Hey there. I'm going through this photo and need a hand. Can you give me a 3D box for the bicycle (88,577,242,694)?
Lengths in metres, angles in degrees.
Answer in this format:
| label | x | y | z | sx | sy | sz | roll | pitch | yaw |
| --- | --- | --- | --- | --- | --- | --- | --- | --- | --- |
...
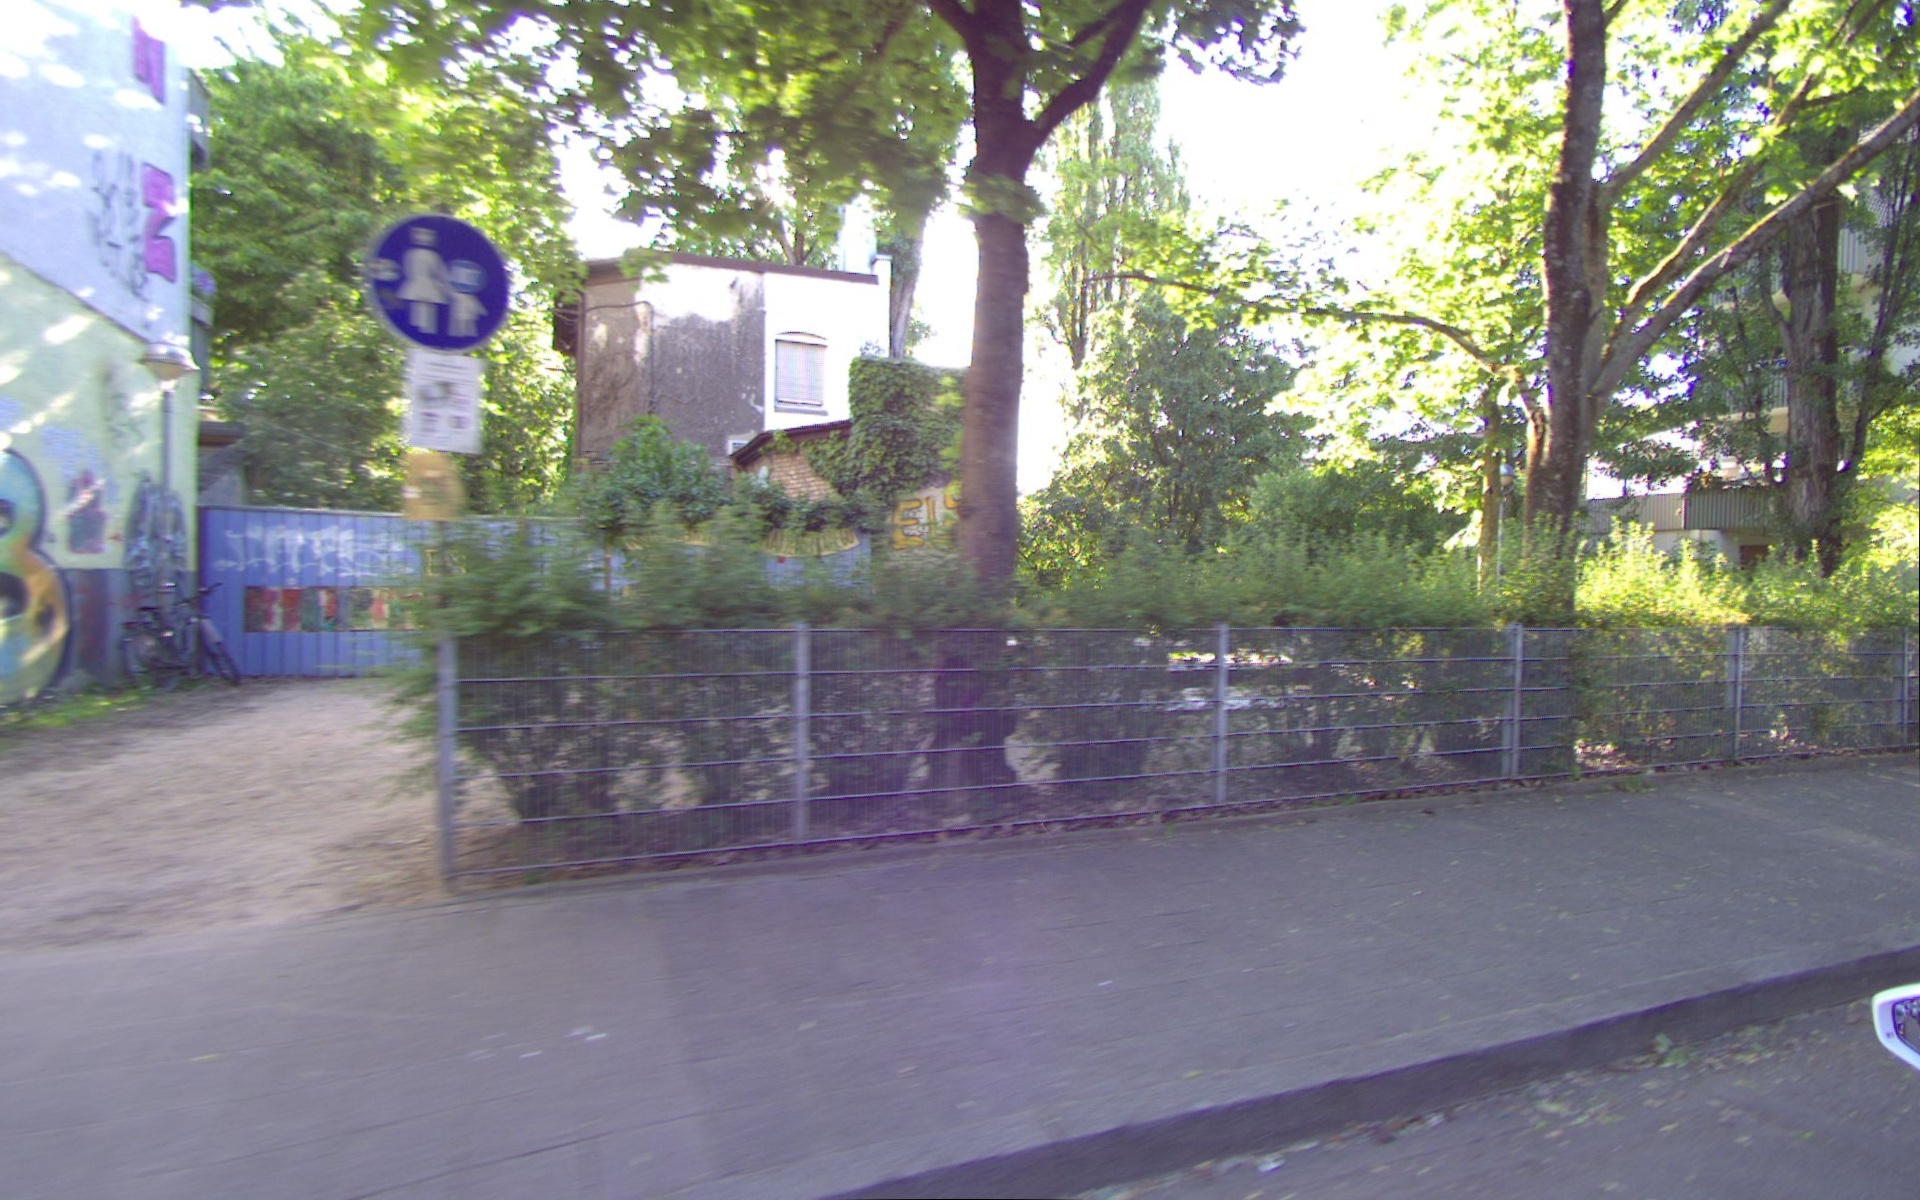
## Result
| label | x | y | z | sx | sy | sz | roll | pitch | yaw |
| --- | --- | --- | --- | --- | --- | --- | --- | --- | --- |
| bicycle | -8.334 | 0.336 | 10.634 | 0.689 | 1.124 | 1.947 | 1 | 0 | -20 |
